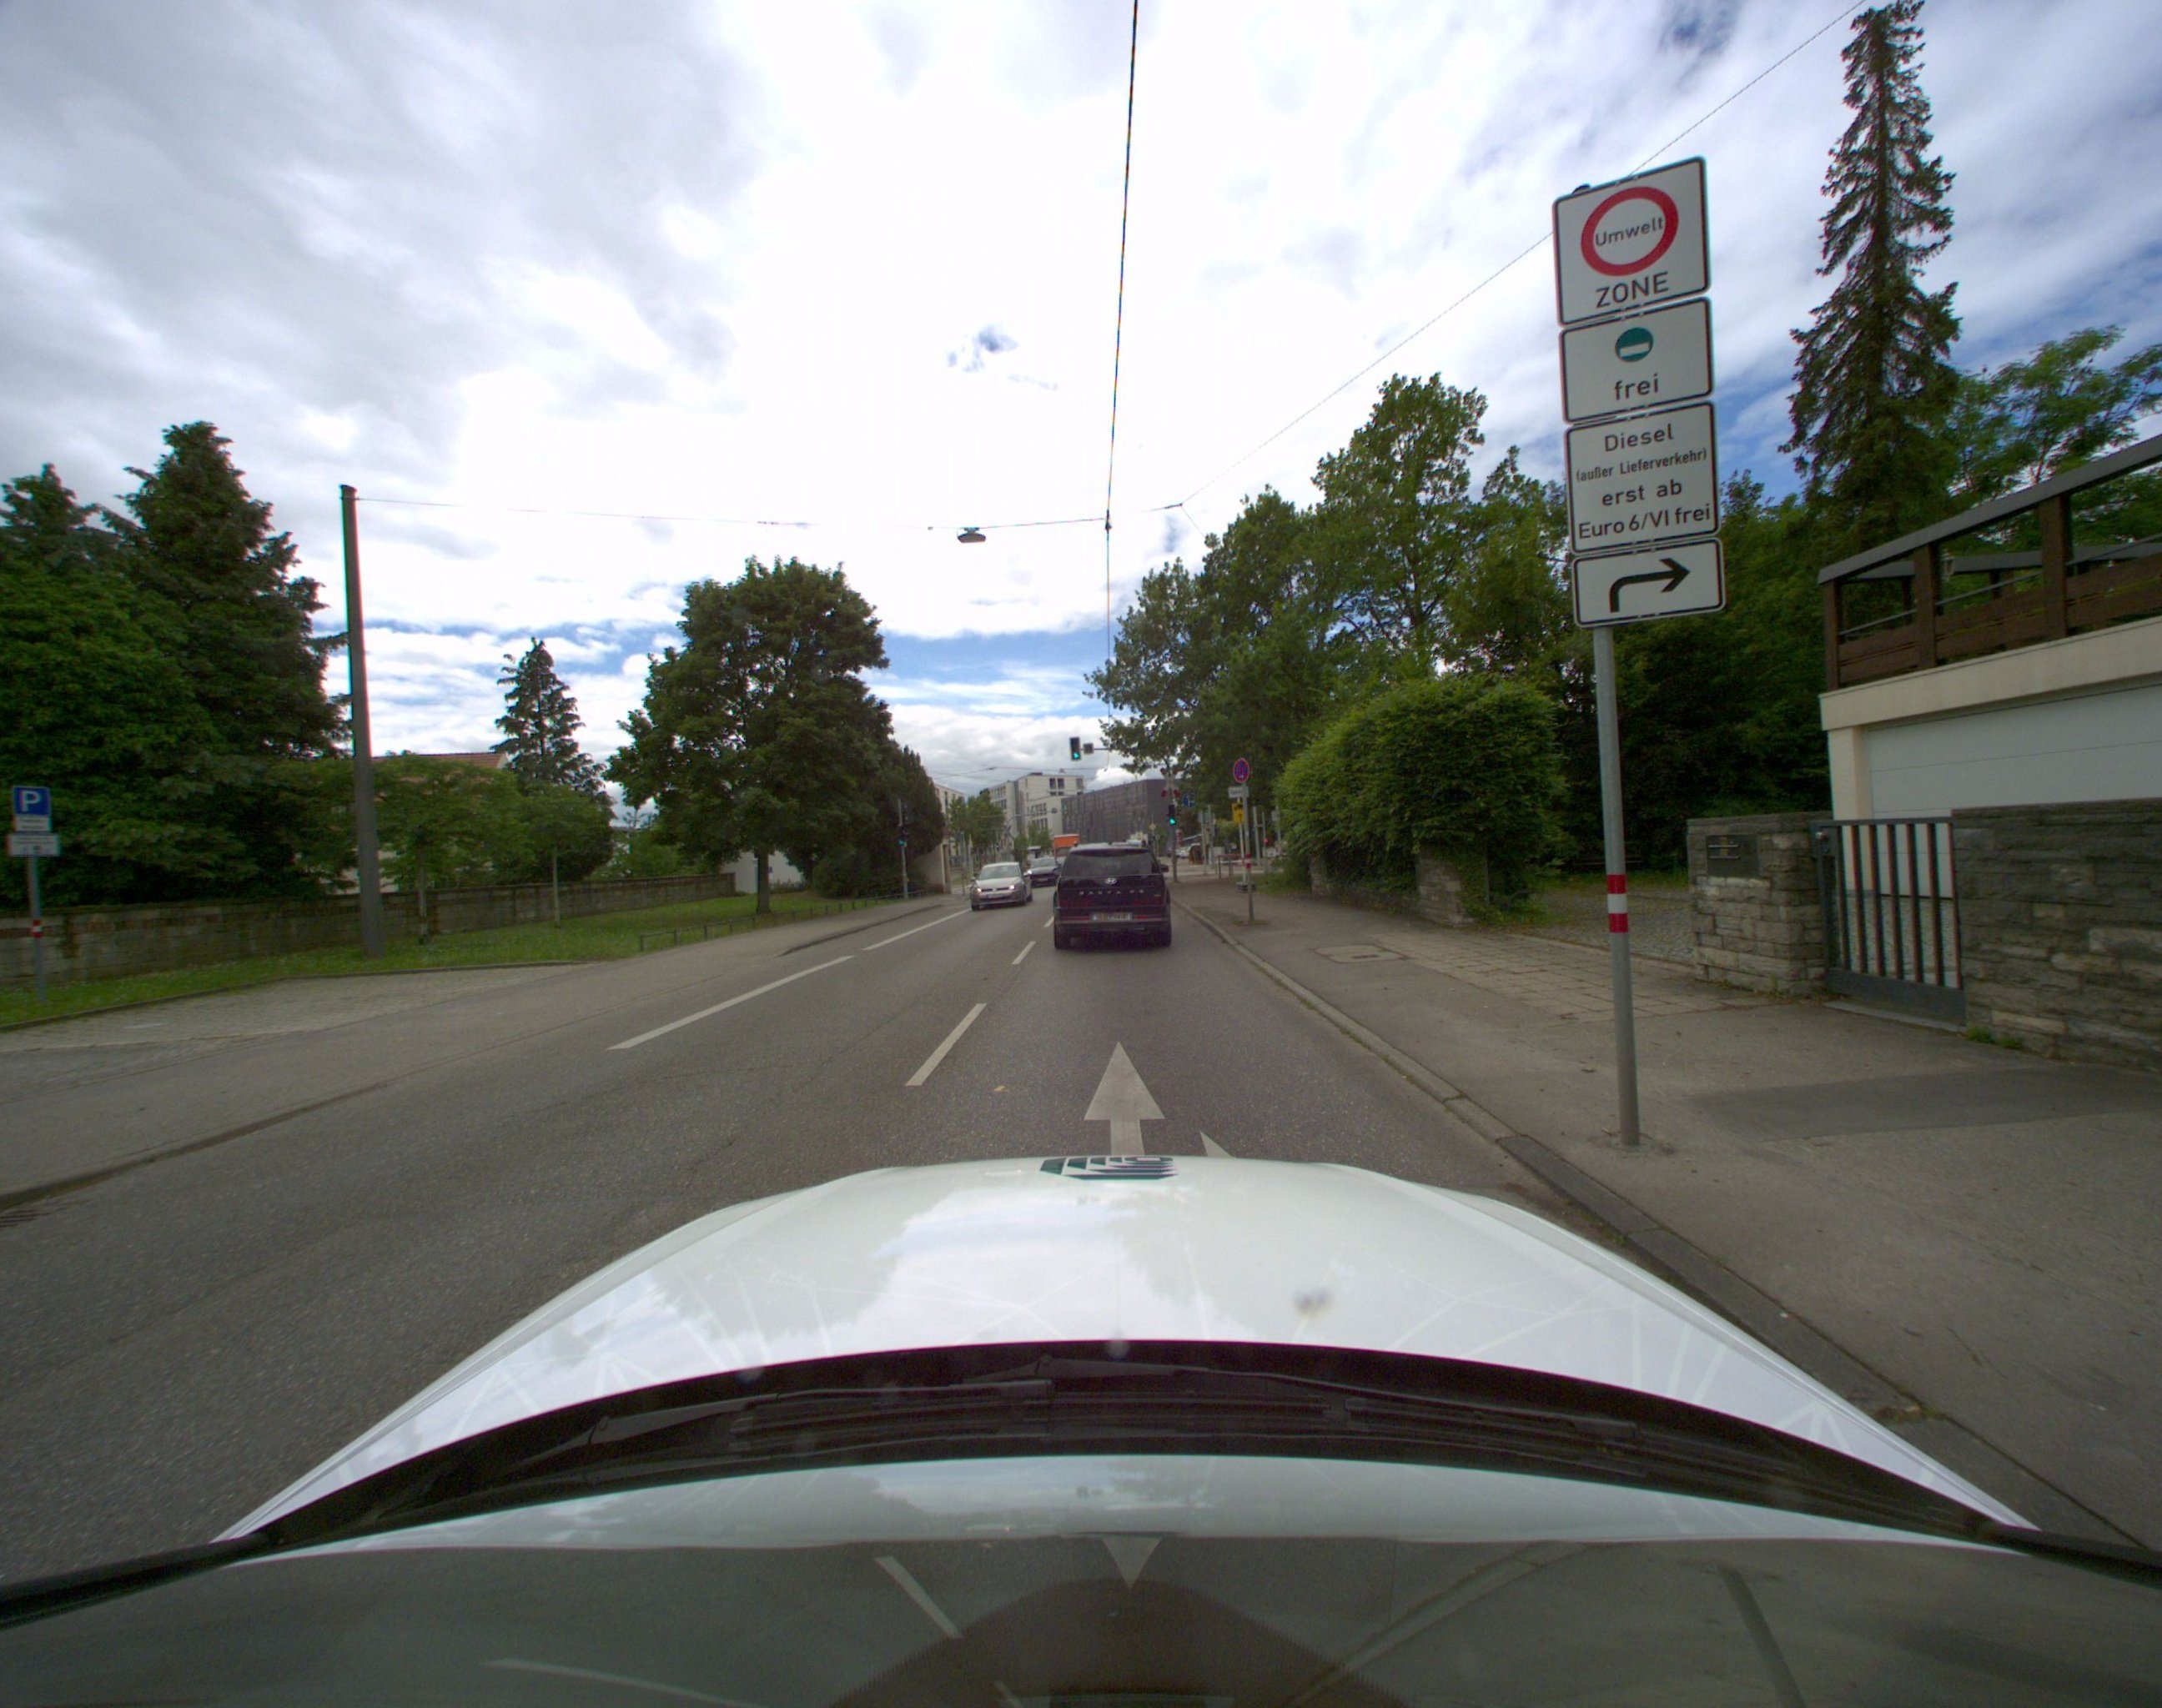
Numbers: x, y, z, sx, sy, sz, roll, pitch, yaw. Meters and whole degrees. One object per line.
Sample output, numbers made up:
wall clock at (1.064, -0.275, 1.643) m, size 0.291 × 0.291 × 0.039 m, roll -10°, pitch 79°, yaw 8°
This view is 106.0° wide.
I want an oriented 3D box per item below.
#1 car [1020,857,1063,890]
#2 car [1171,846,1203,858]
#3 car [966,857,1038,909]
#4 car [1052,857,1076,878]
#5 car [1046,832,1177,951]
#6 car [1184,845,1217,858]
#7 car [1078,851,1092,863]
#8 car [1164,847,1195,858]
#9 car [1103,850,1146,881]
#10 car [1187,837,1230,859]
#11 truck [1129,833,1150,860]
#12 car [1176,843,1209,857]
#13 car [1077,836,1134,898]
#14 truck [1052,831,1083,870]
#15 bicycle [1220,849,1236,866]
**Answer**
car at (-2.181, 1.067, 46.431) m, size 1.932 × 1.531 × 4.528 m, roll -6°, pitch 0°, yaw 2°
car at (13.926, -0.253, 106.533) m, size 3.813 × 1.474 × 1.781 m, roll -1°, pitch -1°, yaw -29°
car at (-2.589, 0.924, 27.673) m, size 1.718 × 1.462 × 4.157 m, roll -4°, pitch 0°, yaw 3°
car at (-1.294, 1.059, 64.941) m, size 1.658 × 1.448 × 3.828 m, roll -4°, pitch 0°, yaw 1°
car at (0.448, 0.554, 14.320) m, size 1.909 × 1.725 × 4.169 m, roll -2°, pitch 0°, yaw -1°
car at (14.022, -0.297, 95.482) m, size 3.527 × 1.378 × 1.533 m, roll -5°, pitch 2°, yaw -29°
car at (0.637, 0.483, 121.365) m, size 1.781 × 1.661 × 4.278 m, roll -4°, pitch 0°, yaw 2°
car at (13.592, -0.200, 111.943) m, size 3.808 × 1.474 × 1.784 m, roll -1°, pitch -1°, yaw -24°
car at (2.373, 0.583, 43.226) m, size 1.983 × 1.463 × 4.527 m, roll -3°, pitch 0°, yaw 6°
car at (12.309, -0.611, 78.451) m, size 1.827 × 1.748 × 4.726 m, roll -4°, pitch 1°, yaw 39°
truck at (8.030, -1.053, 113.049) m, size 2.562 × 3.525 × 7.817 m, roll -4°, pitch 0°, yaw 3°
car at (13.825, -0.502, 100.605) m, size 3.658 × 1.435 × 1.578 m, roll -5°, pitch -1°, yaw -26°
car at (0.852, 0.435, 30.445) m, size 1.849 × 2.033 × 4.437 m, roll -4°, pitch 0°, yaw 0°
truck at (-1.355, -0.320, 86.389) m, size 2.760 × 3.718 × 8.468 m, roll -4°, pitch 0°, yaw 0°
bicycle at (11.271, 0.265, 62.526) m, size 0.548 × 1.138 × 1.872 m, roll -3°, pitch 3°, yaw -10°
